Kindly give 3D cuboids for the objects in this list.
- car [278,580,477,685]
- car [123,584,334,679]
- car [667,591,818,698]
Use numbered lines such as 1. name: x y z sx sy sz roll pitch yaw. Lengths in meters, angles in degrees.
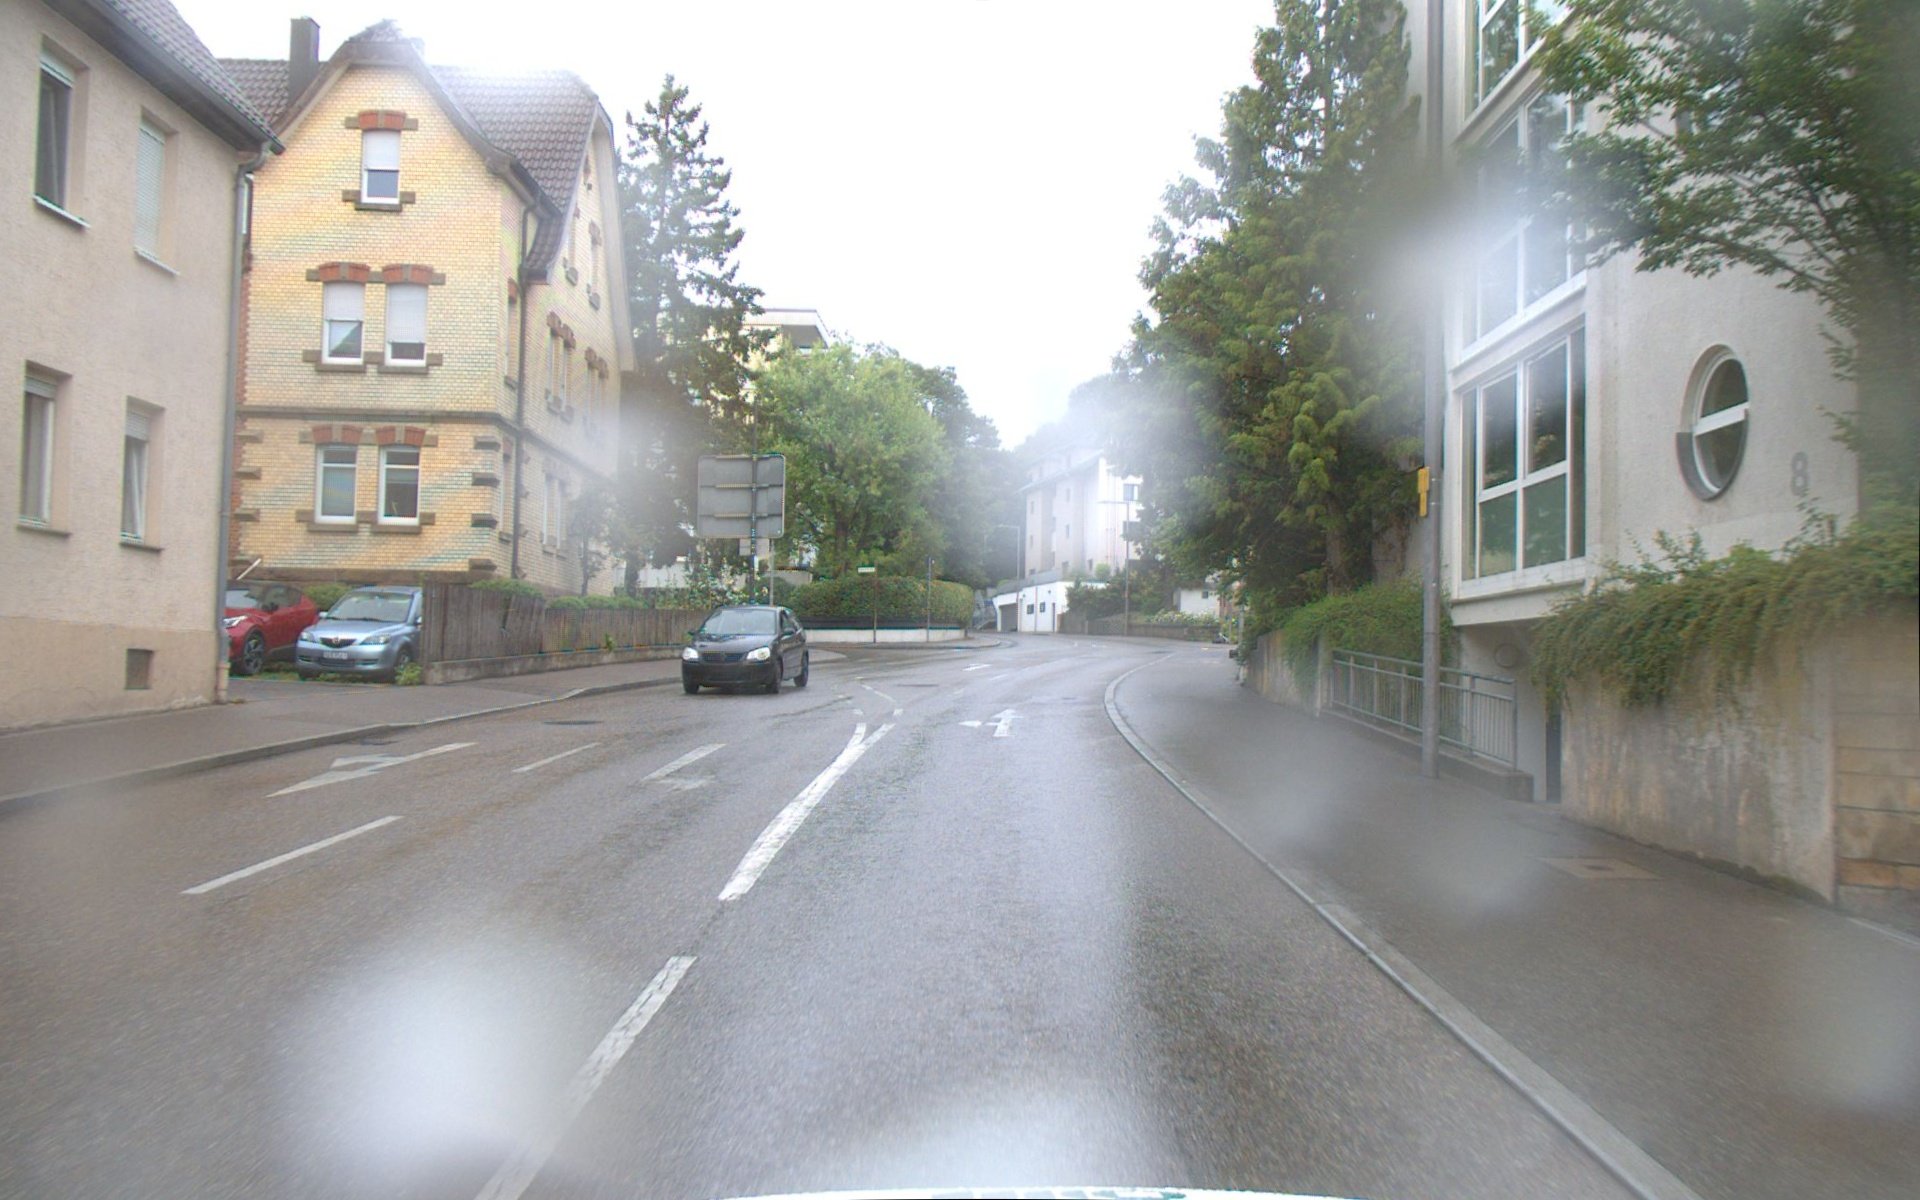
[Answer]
1. car: -9.419 0.486 27.072 1.734 1.529 3.883 2 0 2
2. car: -12.044 0.475 27.518 1.734 1.391 3.882 2 0 0
3. car: -3.685 0.742 28.693 1.709 1.599 3.815 4 0 5
